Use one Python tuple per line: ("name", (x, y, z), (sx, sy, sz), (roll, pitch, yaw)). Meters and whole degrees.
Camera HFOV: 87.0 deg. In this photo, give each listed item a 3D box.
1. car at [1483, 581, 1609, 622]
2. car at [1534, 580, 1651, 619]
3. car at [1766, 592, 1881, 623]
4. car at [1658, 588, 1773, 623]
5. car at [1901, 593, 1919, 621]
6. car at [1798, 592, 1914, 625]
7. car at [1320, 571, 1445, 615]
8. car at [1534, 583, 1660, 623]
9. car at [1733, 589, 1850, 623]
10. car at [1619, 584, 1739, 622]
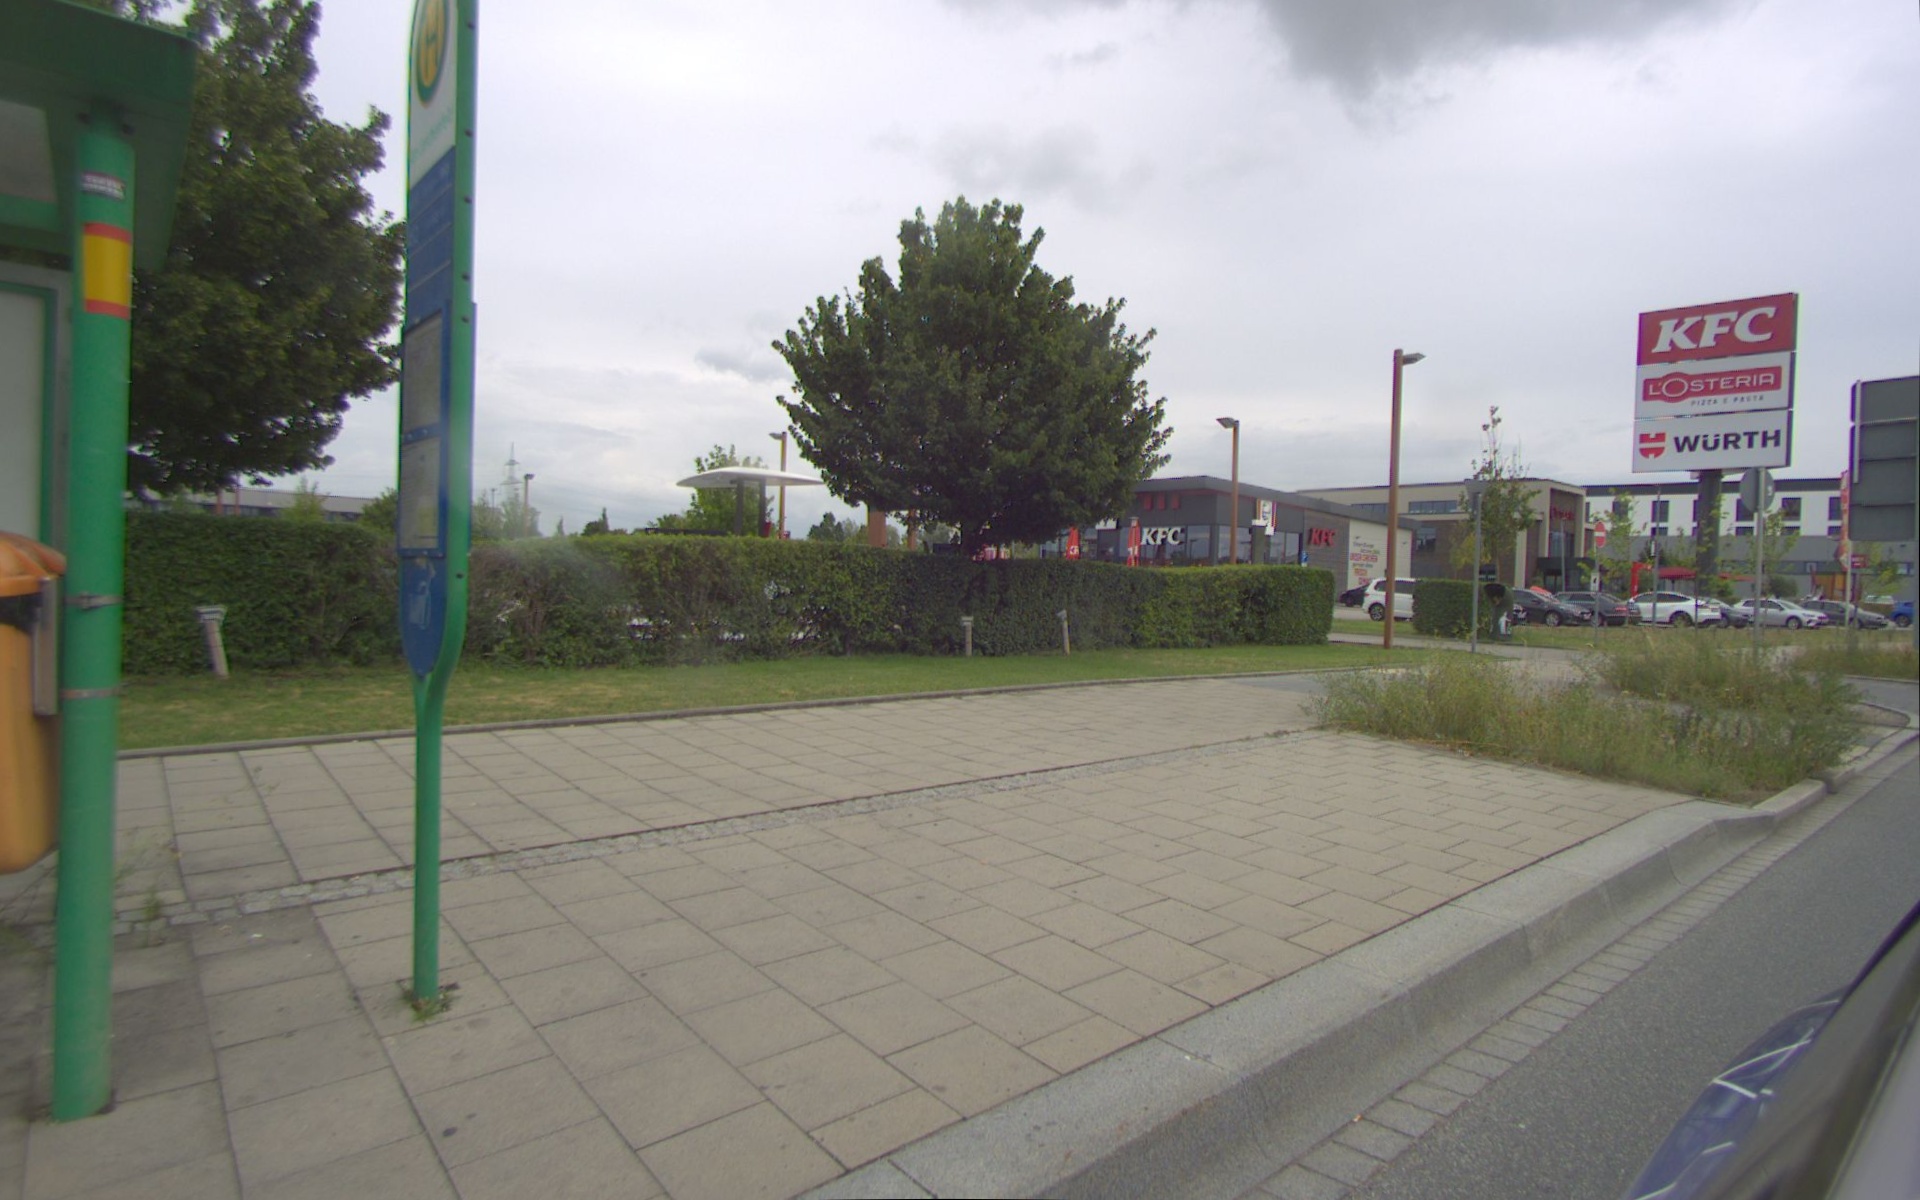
("car", (23.508, 0.031, 40.743), (1.811, 1.504, 4.004), (1, 1, -32))
("car", (27.882, -0.051, 44.739), (1.811, 1.631, 4.003), (0, 0, -32))
("car", (42.990, 0.342, 50.468), (1.809, 1.505, 4.005), (0, 0, -27))
("car", (36.012, 0.247, 48.336), (1.811, 1.504, 4.003), (1, 1, -32))
("car", (54.044, 0.393, 54.905), (1.809, 1.505, 4.007), (0, 0, -23))
("car", (45.279, 0.424, 51.218), (1.809, 1.504, 4.007), (1, 1, -27))
("car", (16.027, -0.287, 38.545), (1.814, 1.547, 3.997), (1, 1, -39))
("car", (26.234, 0.091, 41.817), (1.811, 1.504, 4.004), (1, 1, -32))
("car", (40.787, 0.281, 49.742), (1.809, 1.504, 4.007), (1, 1, -27))
("car", (32.099, 0.098, 45.284), (1.811, 1.541, 4.004), (1, 1, -32))
